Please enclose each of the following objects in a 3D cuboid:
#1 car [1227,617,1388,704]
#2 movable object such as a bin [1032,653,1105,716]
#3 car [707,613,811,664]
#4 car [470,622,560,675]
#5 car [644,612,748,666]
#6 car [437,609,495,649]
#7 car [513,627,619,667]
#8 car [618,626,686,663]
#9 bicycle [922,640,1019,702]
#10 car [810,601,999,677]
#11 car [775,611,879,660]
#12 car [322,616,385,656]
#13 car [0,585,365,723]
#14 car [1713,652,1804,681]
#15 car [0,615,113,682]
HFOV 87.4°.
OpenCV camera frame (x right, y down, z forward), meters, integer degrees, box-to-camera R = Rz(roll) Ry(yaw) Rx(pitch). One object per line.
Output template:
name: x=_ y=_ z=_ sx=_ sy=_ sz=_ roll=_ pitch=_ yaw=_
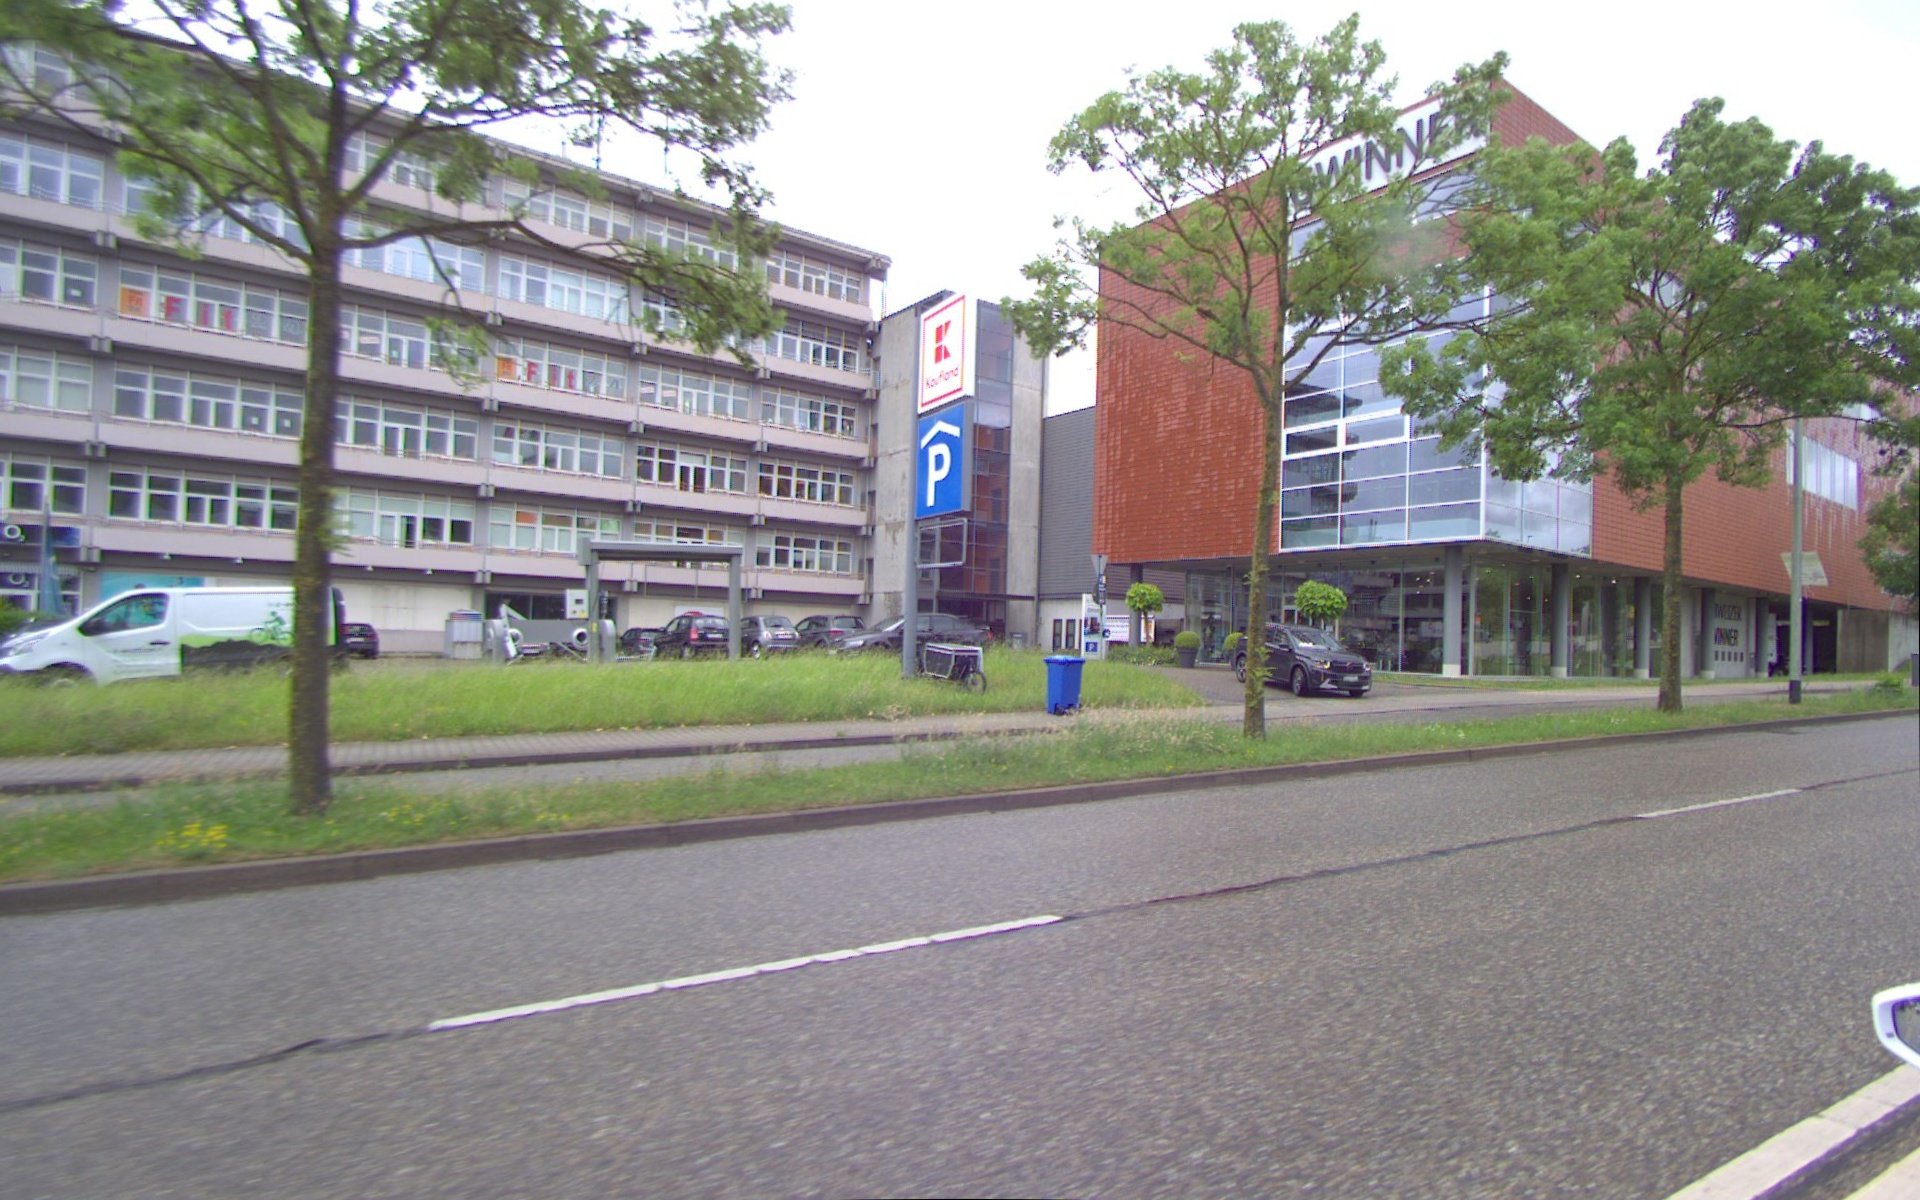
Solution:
car: x=8.638 y=1.448 z=25.419 sx=1.770 sy=1.705 sz=4.271 roll=2 pitch=2 yaw=-14
movable object such as a bin: x=2.019 y=1.549 z=18.715 sx=1.073 sy=1.093 sz=0.815 roll=1 pitch=-1 yaw=-30
car: x=-6.821 y=1.247 z=33.832 sx=1.803 sy=1.530 sz=4.077 roll=0 pitch=1 yaw=-38
car: x=-15.079 y=1.576 z=33.940 sx=1.831 sy=1.530 sz=4.243 roll=0 pitch=1 yaw=-38
car: x=-8.582 y=1.204 z=32.481 sx=1.803 sy=1.530 sz=4.077 roll=0 pitch=1 yaw=-38
car: x=-23.483 y=1.348 z=47.720 sx=1.783 sy=1.755 sz=3.958 roll=0 pitch=1 yaw=-37
car: x=-16.893 y=1.983 z=43.125 sx=3.962 sy=1.530 sz=1.781 roll=0 pitch=1 yaw=-37
car: x=-14.859 y=2.102 z=48.371 sx=1.803 sy=1.594 sz=4.158 roll=0 pitch=1 yaw=-38
bicycle: x=0.178 y=1.385 z=19.937 sx=1.079 sy=0.948 sz=2.069 roll=2 pitch=3 yaw=-26
car: x=-1.423 y=0.954 z=26.479 sx=4.558 sy=1.797 sz=2.125 roll=0 pitch=1 yaw=-33
car: x=-4.720 y=1.190 z=35.180 sx=1.803 sy=1.530 sz=4.158 roll=0 pitch=1 yaw=-38
car: x=-25.988 y=1.508 z=42.993 sx=1.831 sy=1.530 sz=4.243 roll=0 pitch=1 yaw=-38
car: x=-13.628 y=0.814 z=17.777 sx=5.079 sy=2.124 sz=2.096 roll=0 pitch=1 yaw=-40
car: x=42.899 y=3.540 z=54.008 sx=1.501 sy=1.301 sz=3.523 roll=2 pitch=0 yaw=-27
car: x=-24.105 y=1.222 z=26.930 sx=1.929 sy=1.530 sz=4.145 roll=0 pitch=1 yaw=-38
